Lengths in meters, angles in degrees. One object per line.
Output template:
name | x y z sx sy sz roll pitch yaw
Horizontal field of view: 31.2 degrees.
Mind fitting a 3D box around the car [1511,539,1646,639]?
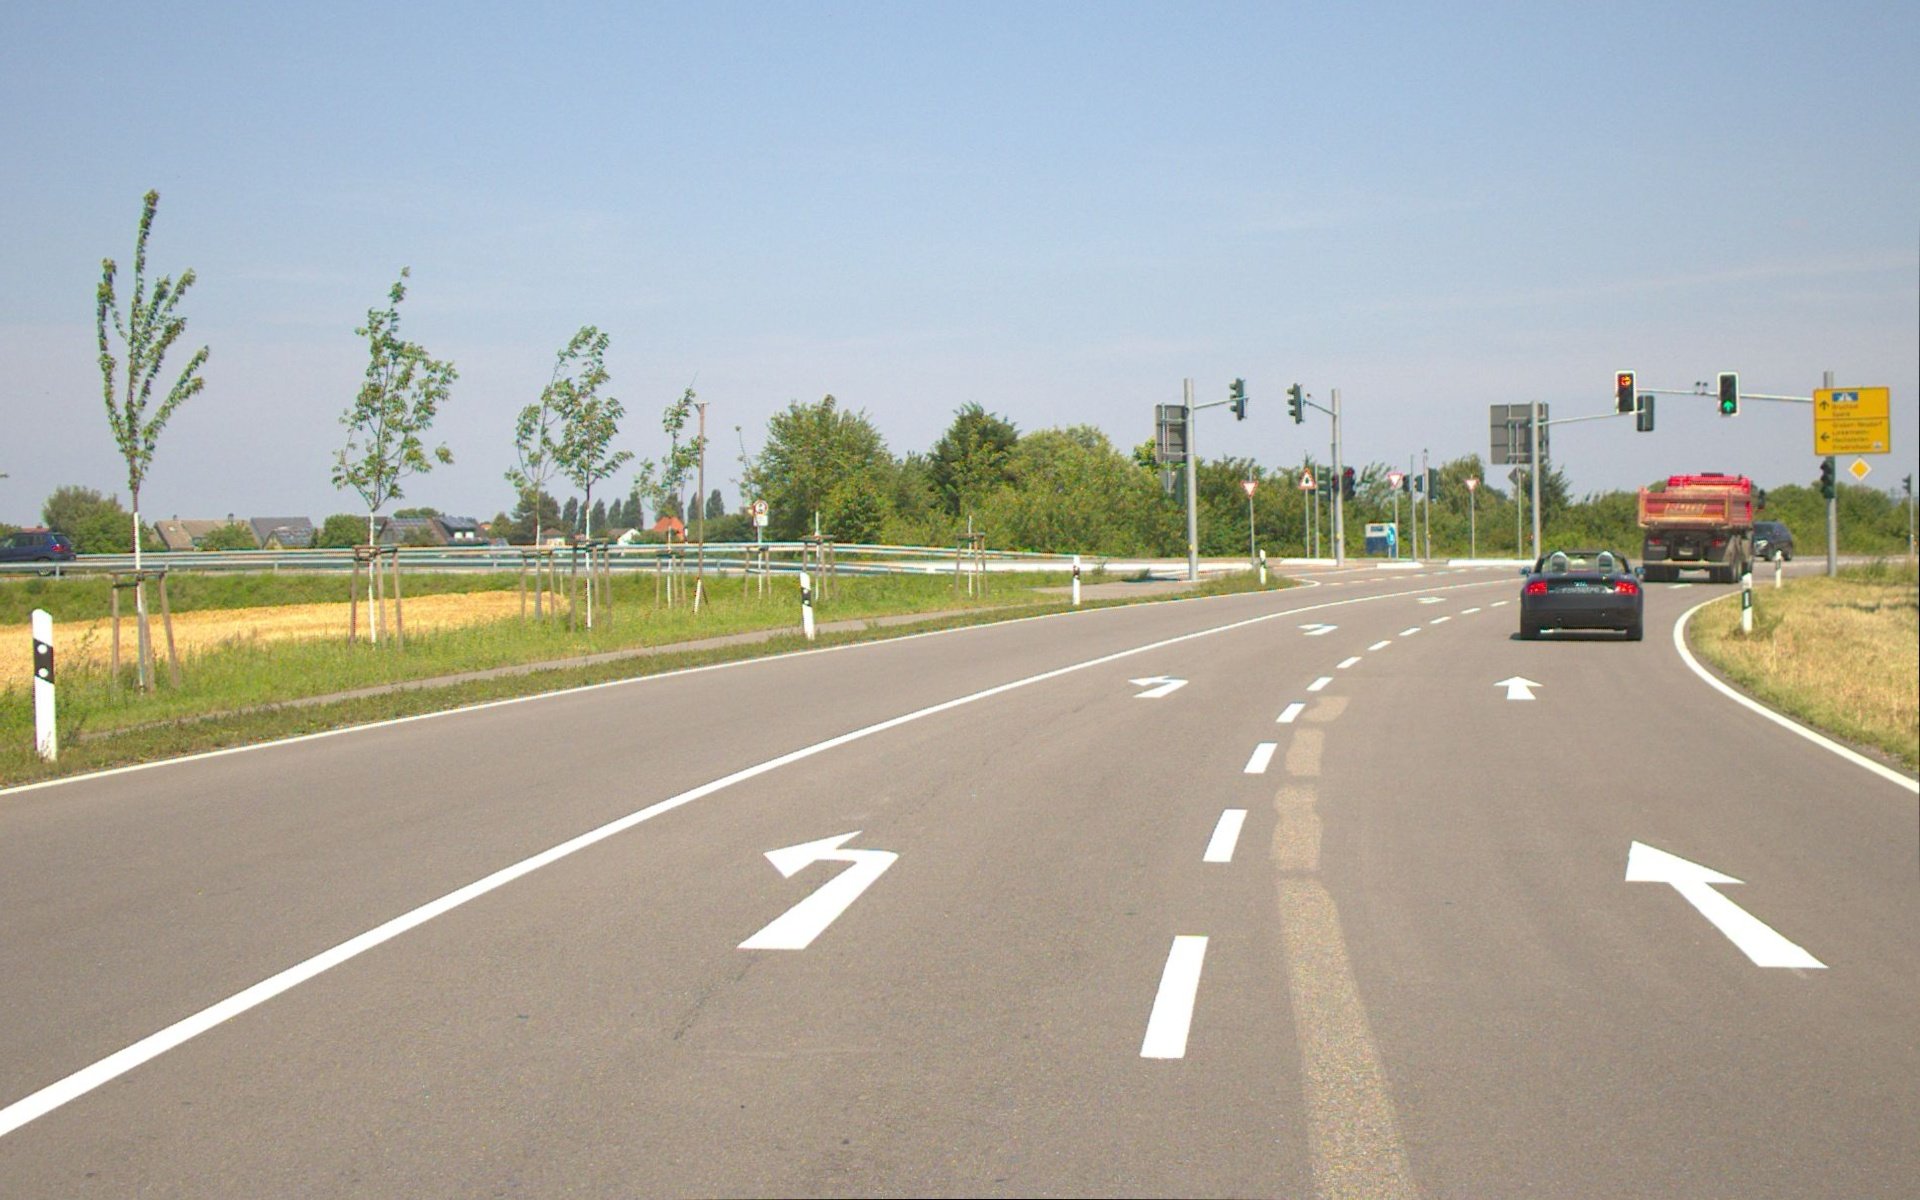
car | 9.060 -0.157 50.190 1.748 1.371 3.677 1 0 13

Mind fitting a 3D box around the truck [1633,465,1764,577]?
truck | 21.125 -2.179 98.056 2.716 3.042 8.157 0 0 19

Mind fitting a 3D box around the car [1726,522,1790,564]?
car | 33.784 -2.428 145.493 1.933 1.733 4.884 0 2 21
